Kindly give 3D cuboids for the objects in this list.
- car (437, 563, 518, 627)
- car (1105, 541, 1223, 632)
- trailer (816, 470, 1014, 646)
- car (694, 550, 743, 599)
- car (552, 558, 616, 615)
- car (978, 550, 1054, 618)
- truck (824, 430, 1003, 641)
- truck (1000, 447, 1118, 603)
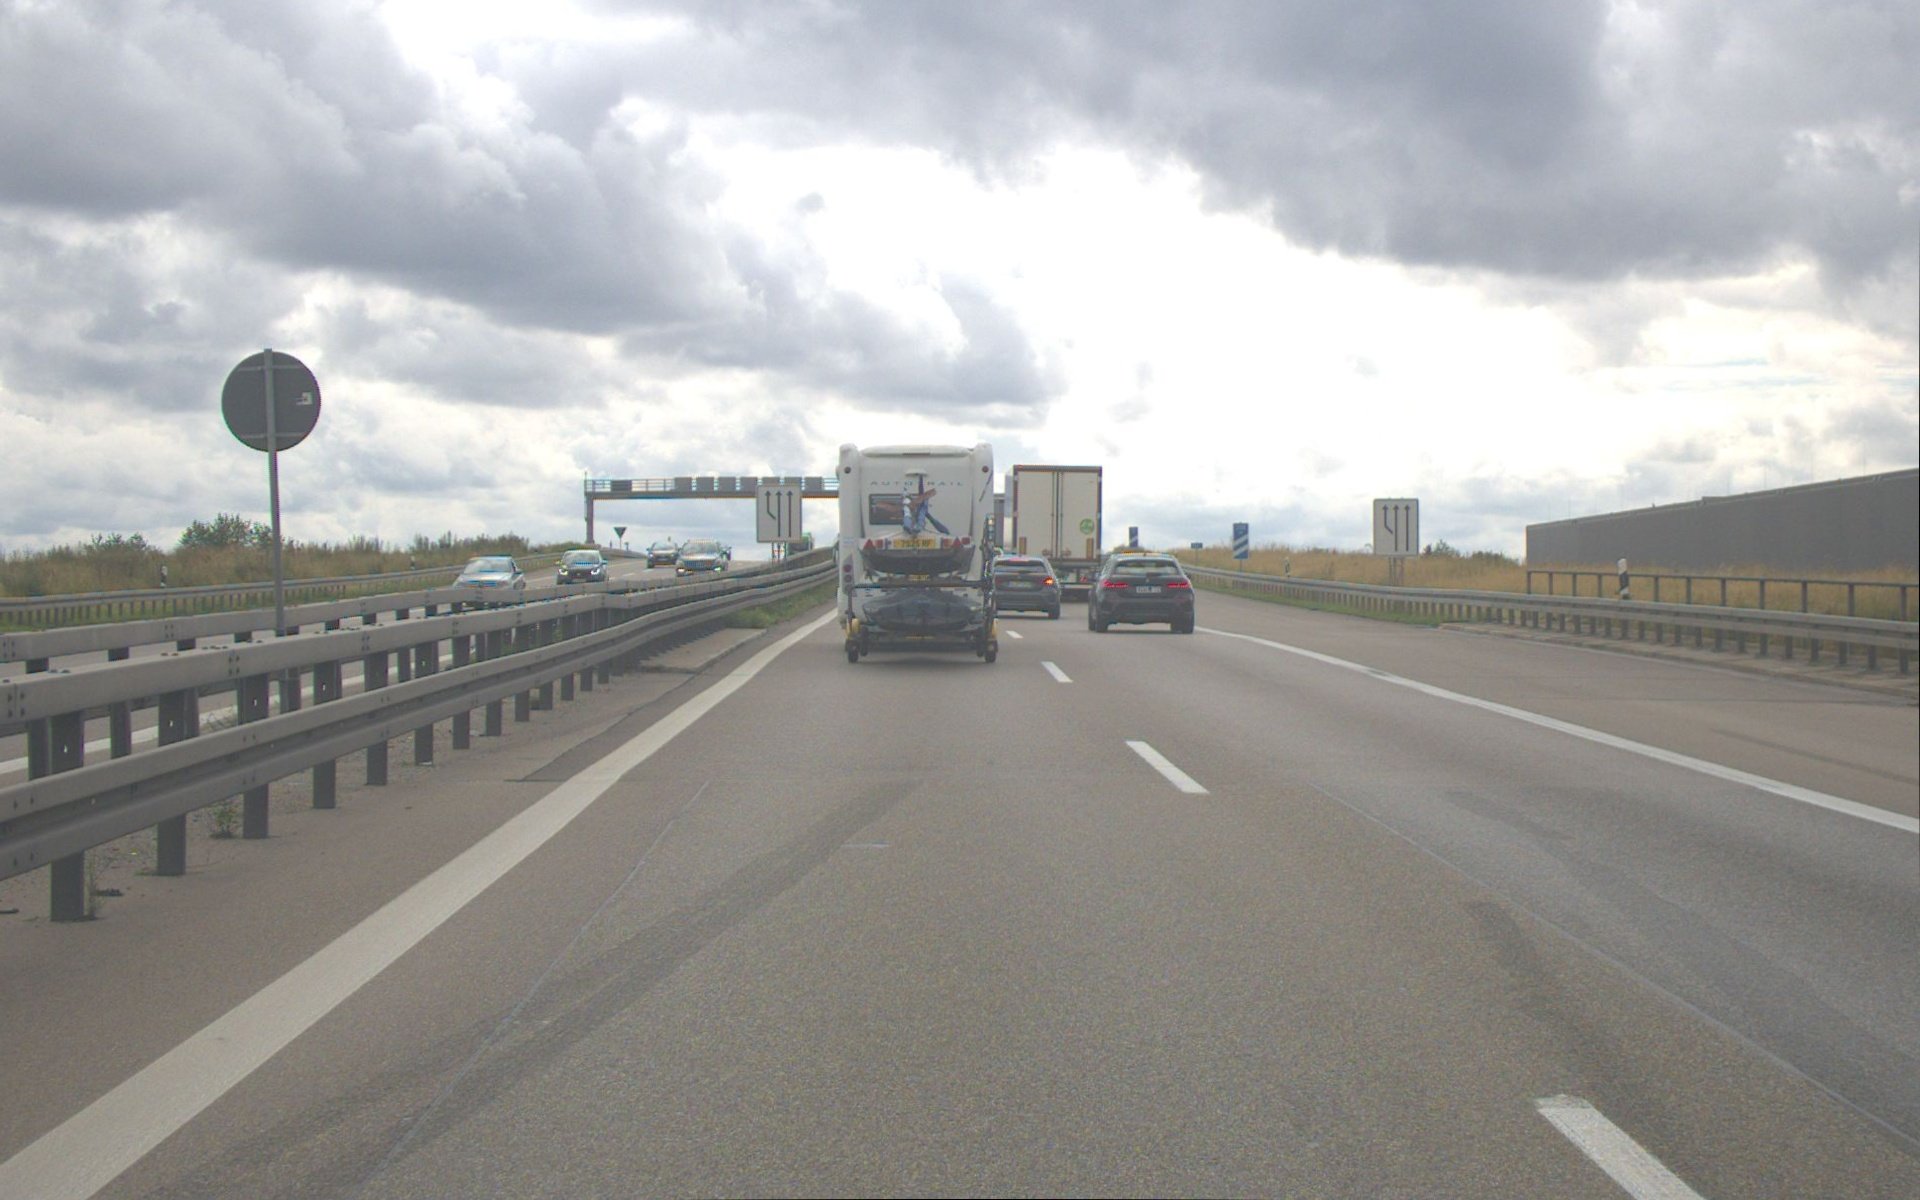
[{"bbox_3d":[-13.658,-0.135,97.508,1.752,1.780,4.000,0,0,-1],"label":"car"},{"bbox_3d":[3.743,-0.236,63.674,1.882,1.615,4.000,0,0,-1],"label":"car"},{"bbox_3d":[-0.518,-0.505,43.843,2.338,2.129,4.000,0,0,2],"label":"trailer"},{"bbox_3d":[-9.626,-0.996,137.089,1.714,1.893,4.000,0,0,-1],"label":"car"},{"bbox_3d":[-13.569,-0.484,124.190,1.893,2.007,4.000,0,0,-1],"label":"car"},{"bbox_3d":[1.267,-0.360,78.843,1.691,1.515,4.000,0,0,0],"label":"car"},{"bbox_3d":[-0.646,-0.894,50.847,2.482,2.940,5.815,0,0,0],"label":"truck"},{"bbox_3d":[2.902,-2.174,103.224,3.246,4.510,7.066,0,0,-1],"label":"truck"}]
